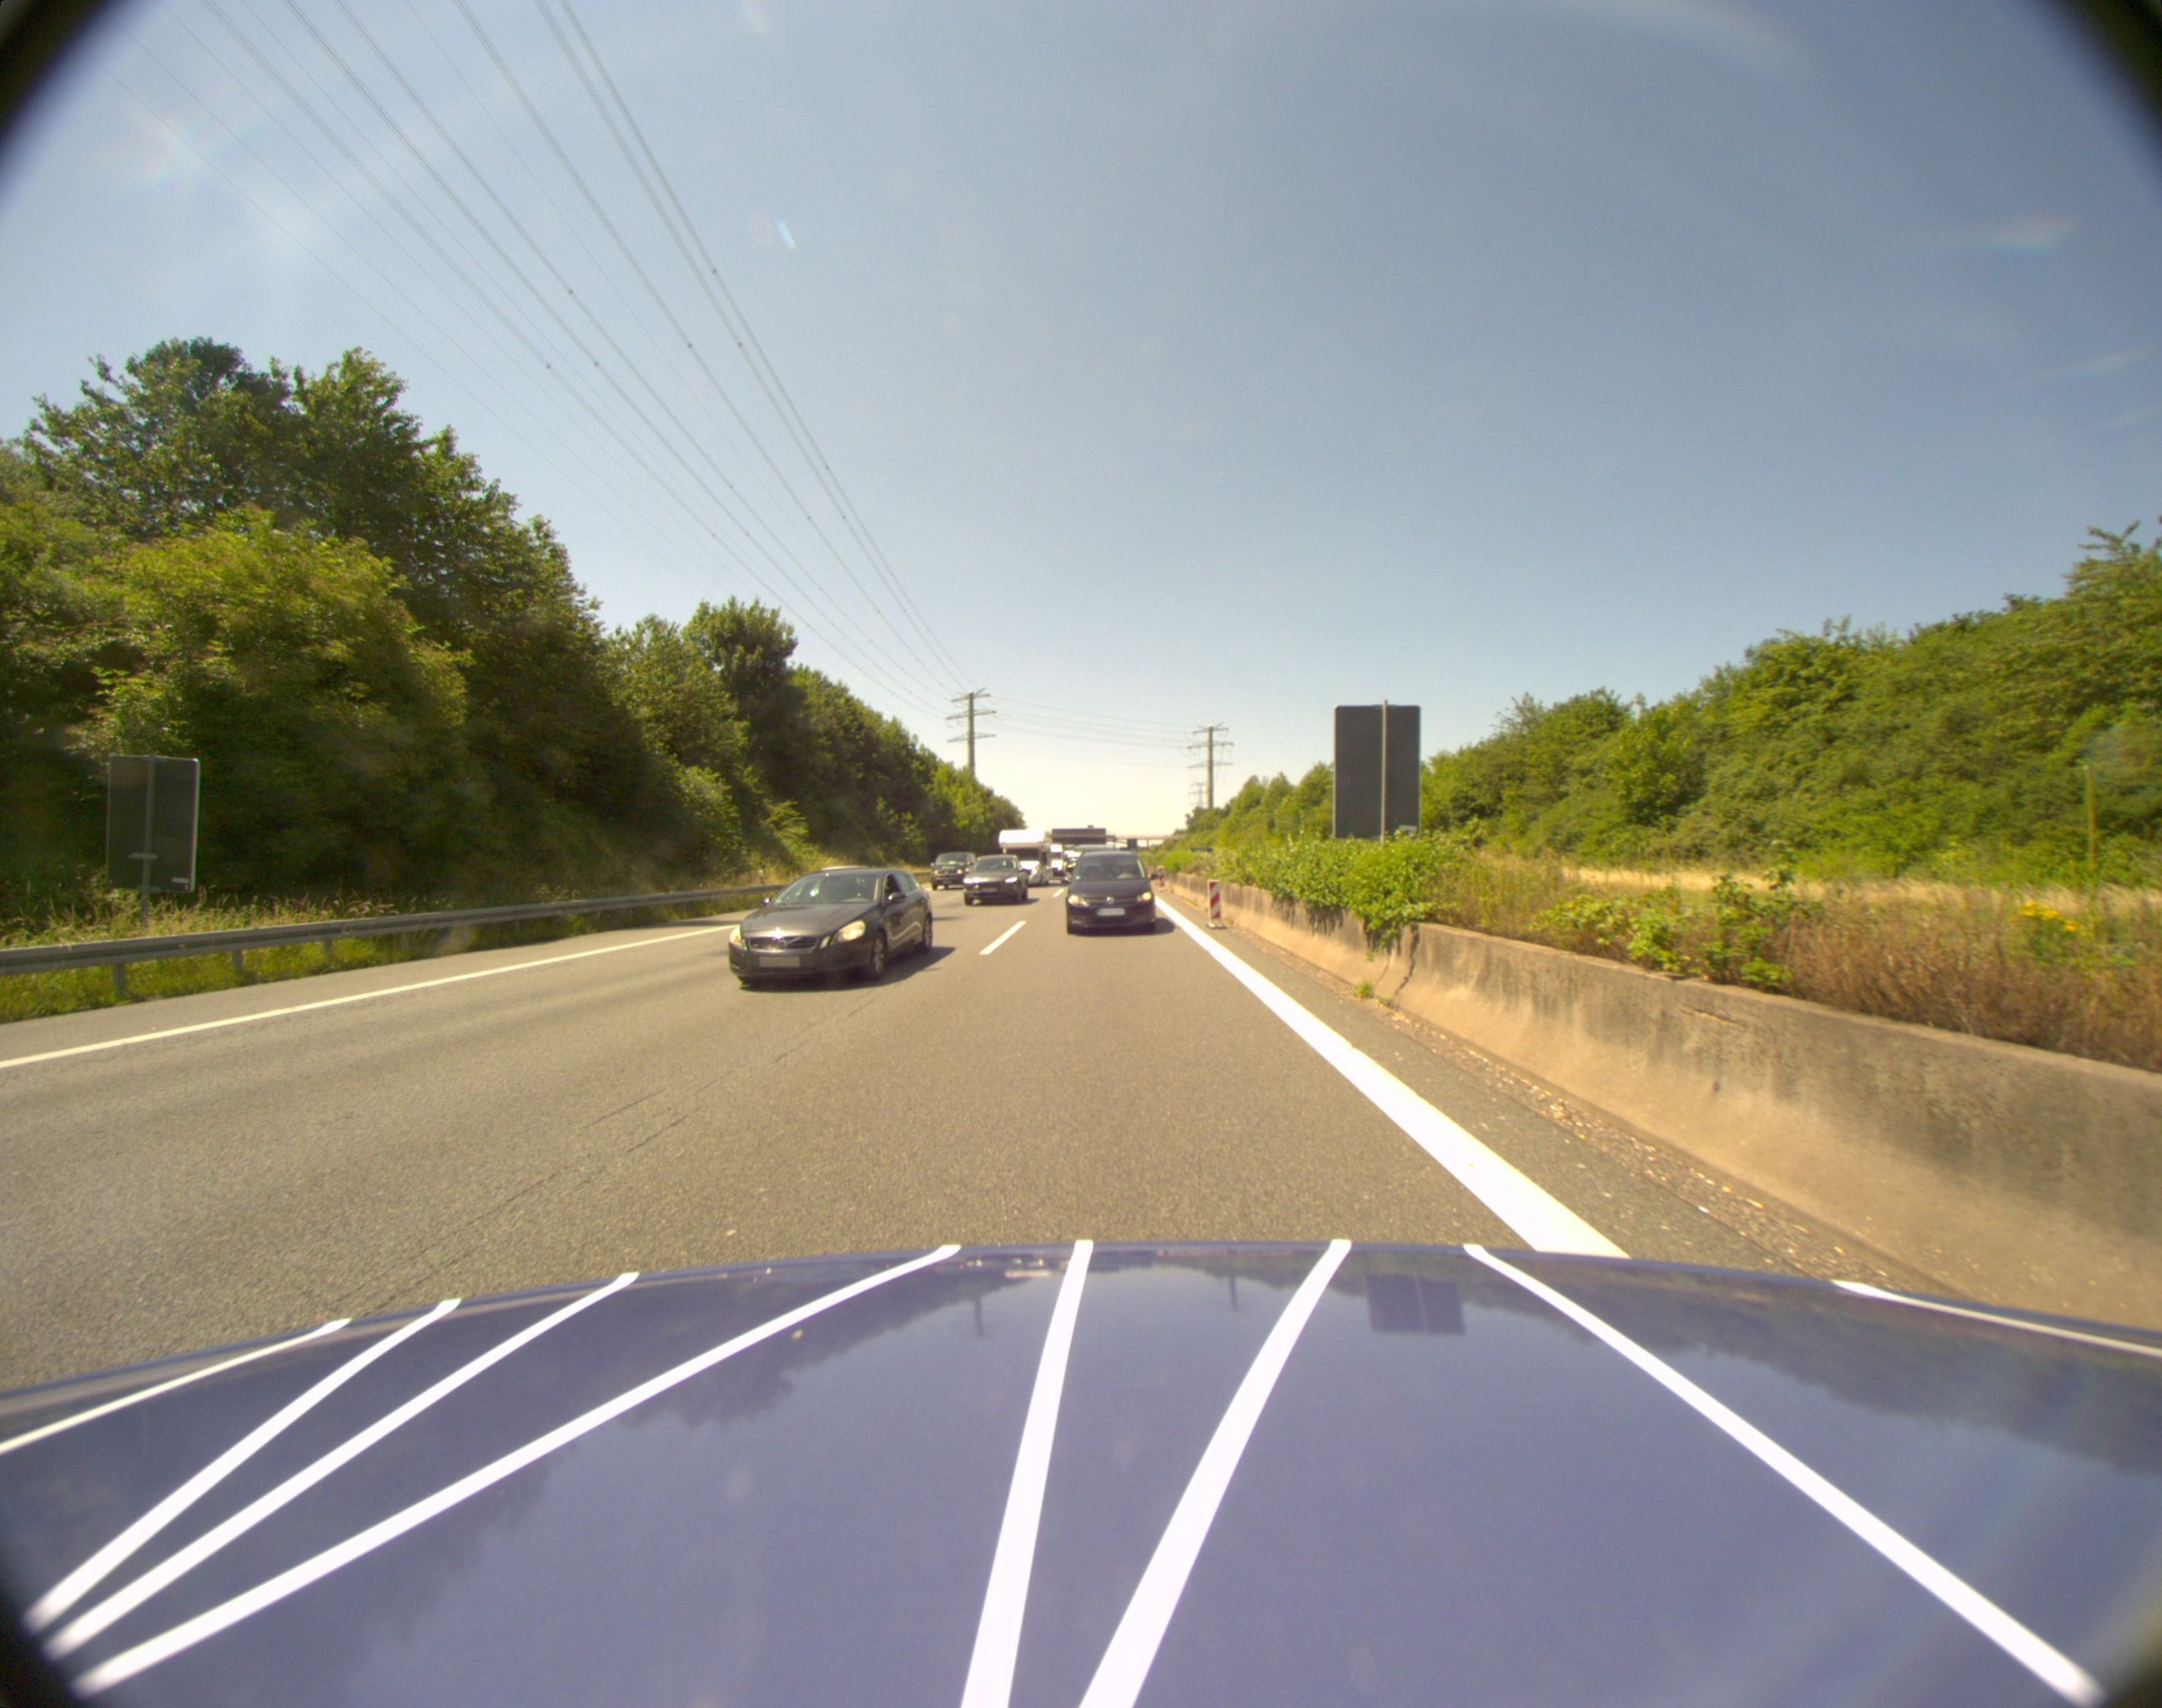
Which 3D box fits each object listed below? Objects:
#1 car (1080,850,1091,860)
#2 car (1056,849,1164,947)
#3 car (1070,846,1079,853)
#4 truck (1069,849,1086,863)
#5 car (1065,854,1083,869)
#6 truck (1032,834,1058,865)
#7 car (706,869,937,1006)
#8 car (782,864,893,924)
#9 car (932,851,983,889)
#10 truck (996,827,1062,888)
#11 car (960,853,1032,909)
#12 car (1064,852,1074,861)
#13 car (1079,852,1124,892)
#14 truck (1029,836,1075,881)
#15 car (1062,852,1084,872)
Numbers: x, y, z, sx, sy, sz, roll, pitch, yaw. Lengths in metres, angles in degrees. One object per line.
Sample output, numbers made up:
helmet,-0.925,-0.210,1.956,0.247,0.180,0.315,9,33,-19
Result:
car,0.932,0.185,153.847,1.998,2.002,4.000,-2,1,2
car,0.541,0.779,15.835,1.892,1.693,4.383,-2,0,1
car,-1.739,-1.216,204.894,1.998,2.002,4.000,-2,1,2
truck,-0.498,0.332,124.836,2.408,2.203,6.744,-2,0,3
car,-0.800,0.870,90.077,1.892,1.693,4.383,-2,0,1
truck,-4.317,-0.527,92.839,2.409,3.557,9.191,-2,0,1
car,-3.419,1.014,10.972,1.800,1.429,4.230,-2,0,1
car,-6.910,1.088,22.000,1.745,1.461,4.014,-2,0,2
car,-6.596,0.800,41.173,1.788,1.893,4.698,-2,0,2
truck,-2.796,0.138,43.780,2.514,2.997,9.898,-2,0,3
car,-2.829,0.838,26.223,1.892,1.693,4.383,-2,0,1
car,-2.742,0.630,172.984,1.998,2.002,4.000,-2,1,2
car,0.890,0.772,35.055,1.892,1.693,4.383,-2,0,1
truck,-2.042,0.257,57.662,2.514,2.997,9.898,-2,0,3
car,-0.681,0.728,69.014,1.892,1.693,4.383,-2,0,1
